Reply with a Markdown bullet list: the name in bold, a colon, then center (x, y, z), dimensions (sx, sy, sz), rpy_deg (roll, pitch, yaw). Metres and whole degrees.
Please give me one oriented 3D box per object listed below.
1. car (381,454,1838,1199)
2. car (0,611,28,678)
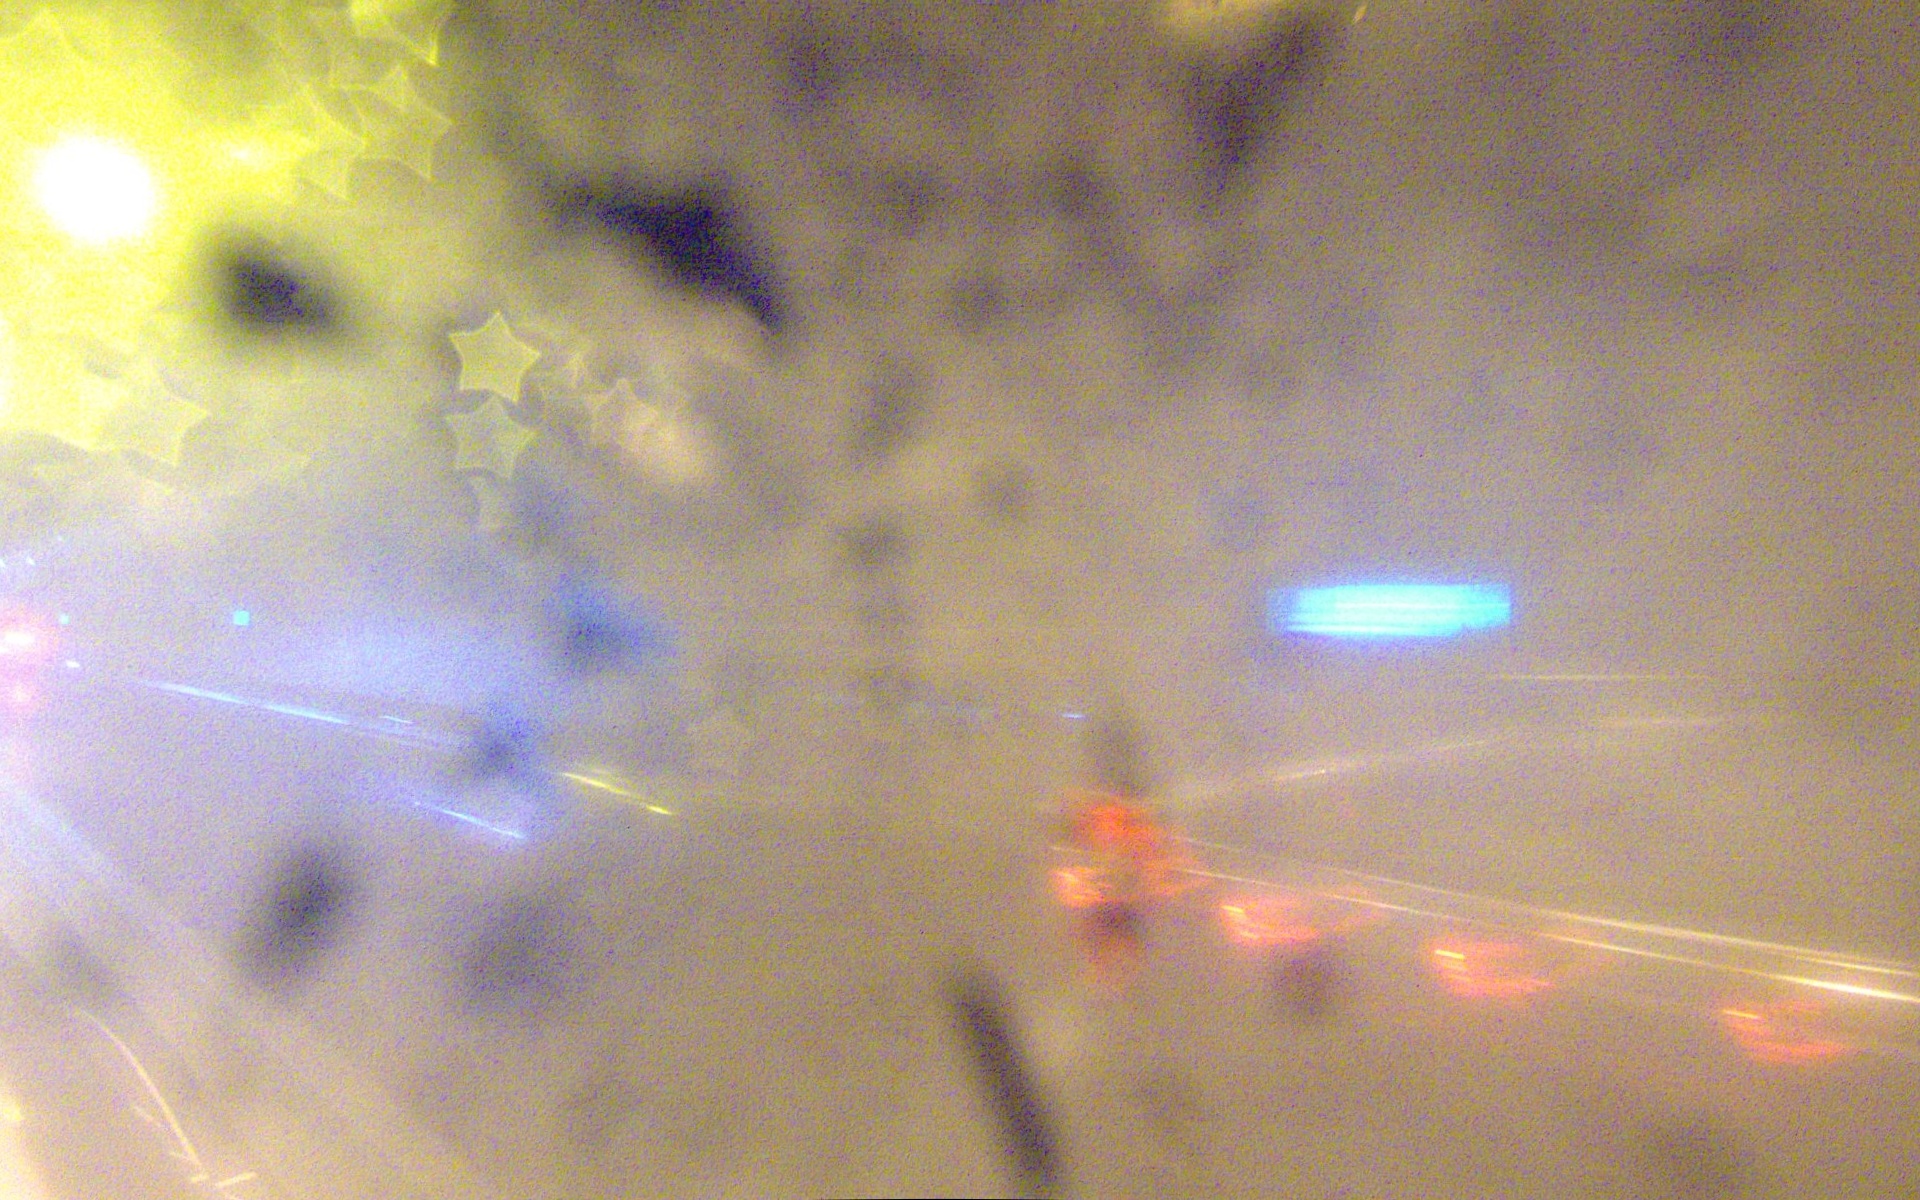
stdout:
- **car**: center (-0.127, 0.623, 3.289), dimensions (4.474, 1.491, 1.730), rpy_deg (-1, -1, 42)
- **car**: center (-26.003, 1.156, 26.716), dimensions (4.125, 1.689, 1.679), rpy_deg (-1, -1, 42)
